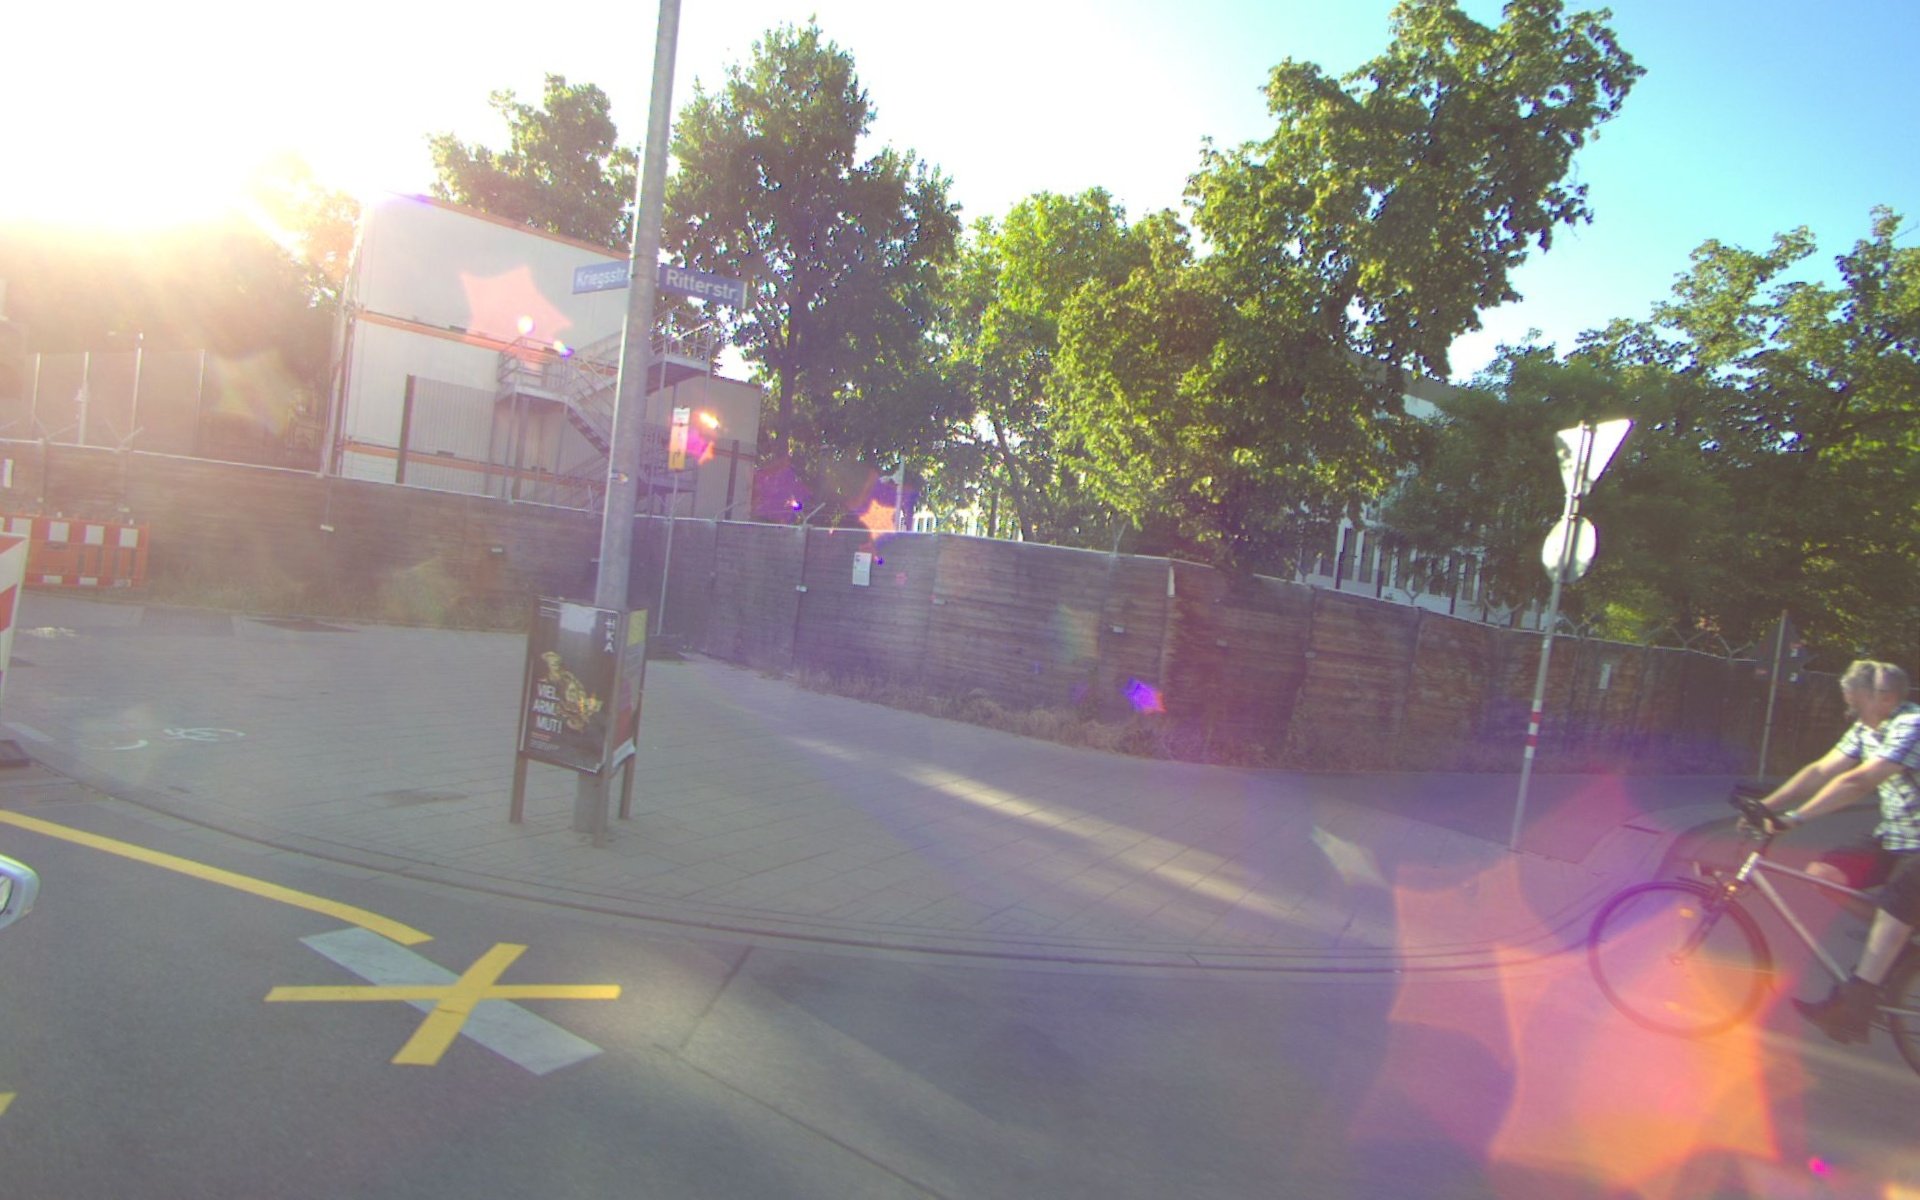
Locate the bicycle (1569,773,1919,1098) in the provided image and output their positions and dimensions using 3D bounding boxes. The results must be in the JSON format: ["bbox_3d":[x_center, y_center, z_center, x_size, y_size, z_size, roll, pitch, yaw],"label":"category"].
[{"bbox_3d":[3.852,1.490,4.437,1.879,1.075,0.428,7,1,30],"label":"bicycle"}]

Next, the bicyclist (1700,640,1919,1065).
[{"bbox_3d":[3.900,1.045,4.354,0.888,1.635,0.584,7,1,29],"label":"bicyclist"}]
